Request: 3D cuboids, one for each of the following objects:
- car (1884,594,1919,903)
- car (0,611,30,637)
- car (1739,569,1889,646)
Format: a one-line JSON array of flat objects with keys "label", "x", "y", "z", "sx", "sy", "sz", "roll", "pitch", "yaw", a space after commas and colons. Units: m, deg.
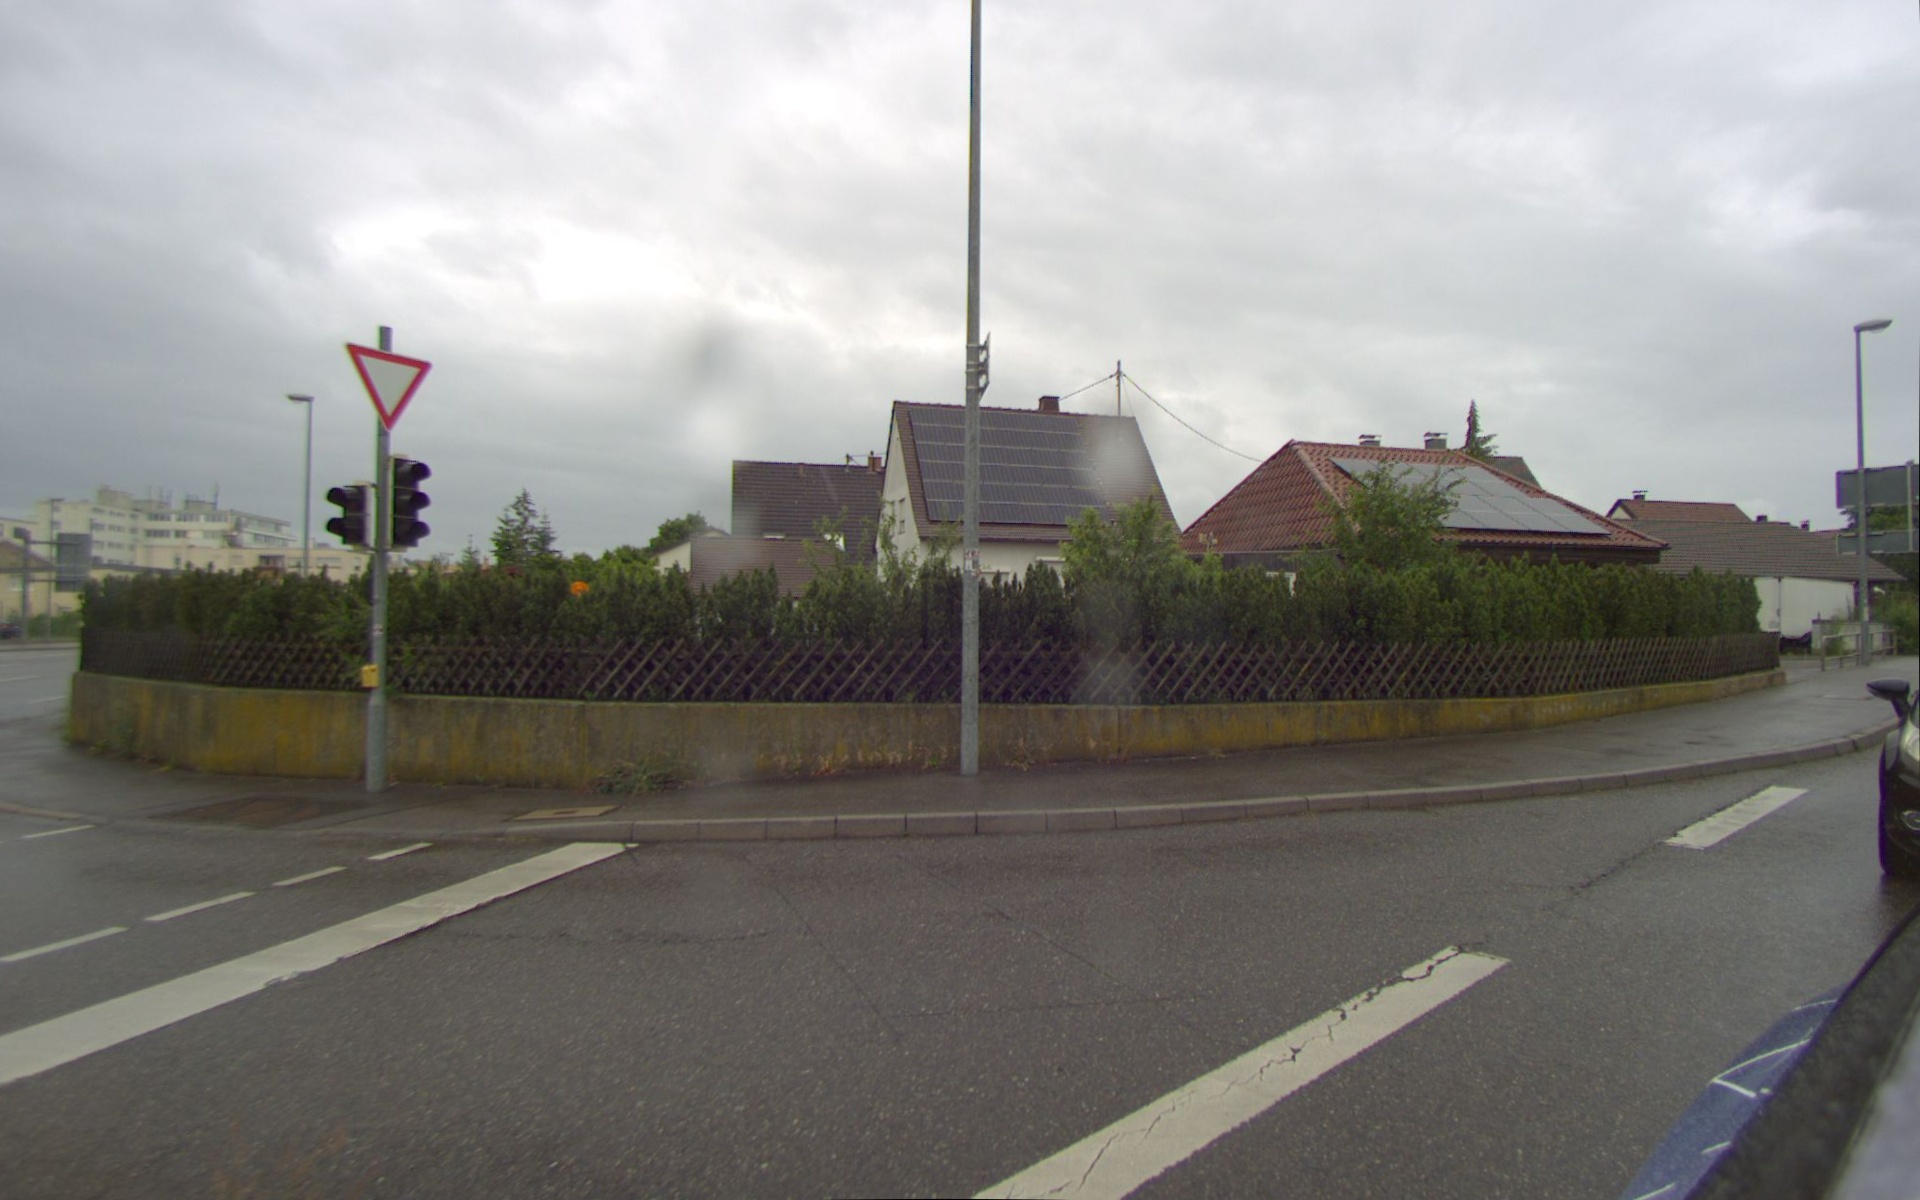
[{"label": "car", "x": 6.433, "y": 0.683, "z": 5.576, "sx": 3.866, "sy": 1.436, "sz": 1.663, "roll": -1, "pitch": 1, "yaw": -43}, {"label": "car", "x": -55.401, "y": 1.370, "z": 57.019, "sx": 3.916, "sy": 1.471, "sz": 2.004, "roll": 0, "pitch": 0, "yaw": -13}, {"label": "car", "x": 27.351, "y": 0.225, "z": 32.431, "sx": 3.916, "sy": 2.380, "sz": 1.657, "roll": 0, "pitch": 0, "yaw": -14}]
